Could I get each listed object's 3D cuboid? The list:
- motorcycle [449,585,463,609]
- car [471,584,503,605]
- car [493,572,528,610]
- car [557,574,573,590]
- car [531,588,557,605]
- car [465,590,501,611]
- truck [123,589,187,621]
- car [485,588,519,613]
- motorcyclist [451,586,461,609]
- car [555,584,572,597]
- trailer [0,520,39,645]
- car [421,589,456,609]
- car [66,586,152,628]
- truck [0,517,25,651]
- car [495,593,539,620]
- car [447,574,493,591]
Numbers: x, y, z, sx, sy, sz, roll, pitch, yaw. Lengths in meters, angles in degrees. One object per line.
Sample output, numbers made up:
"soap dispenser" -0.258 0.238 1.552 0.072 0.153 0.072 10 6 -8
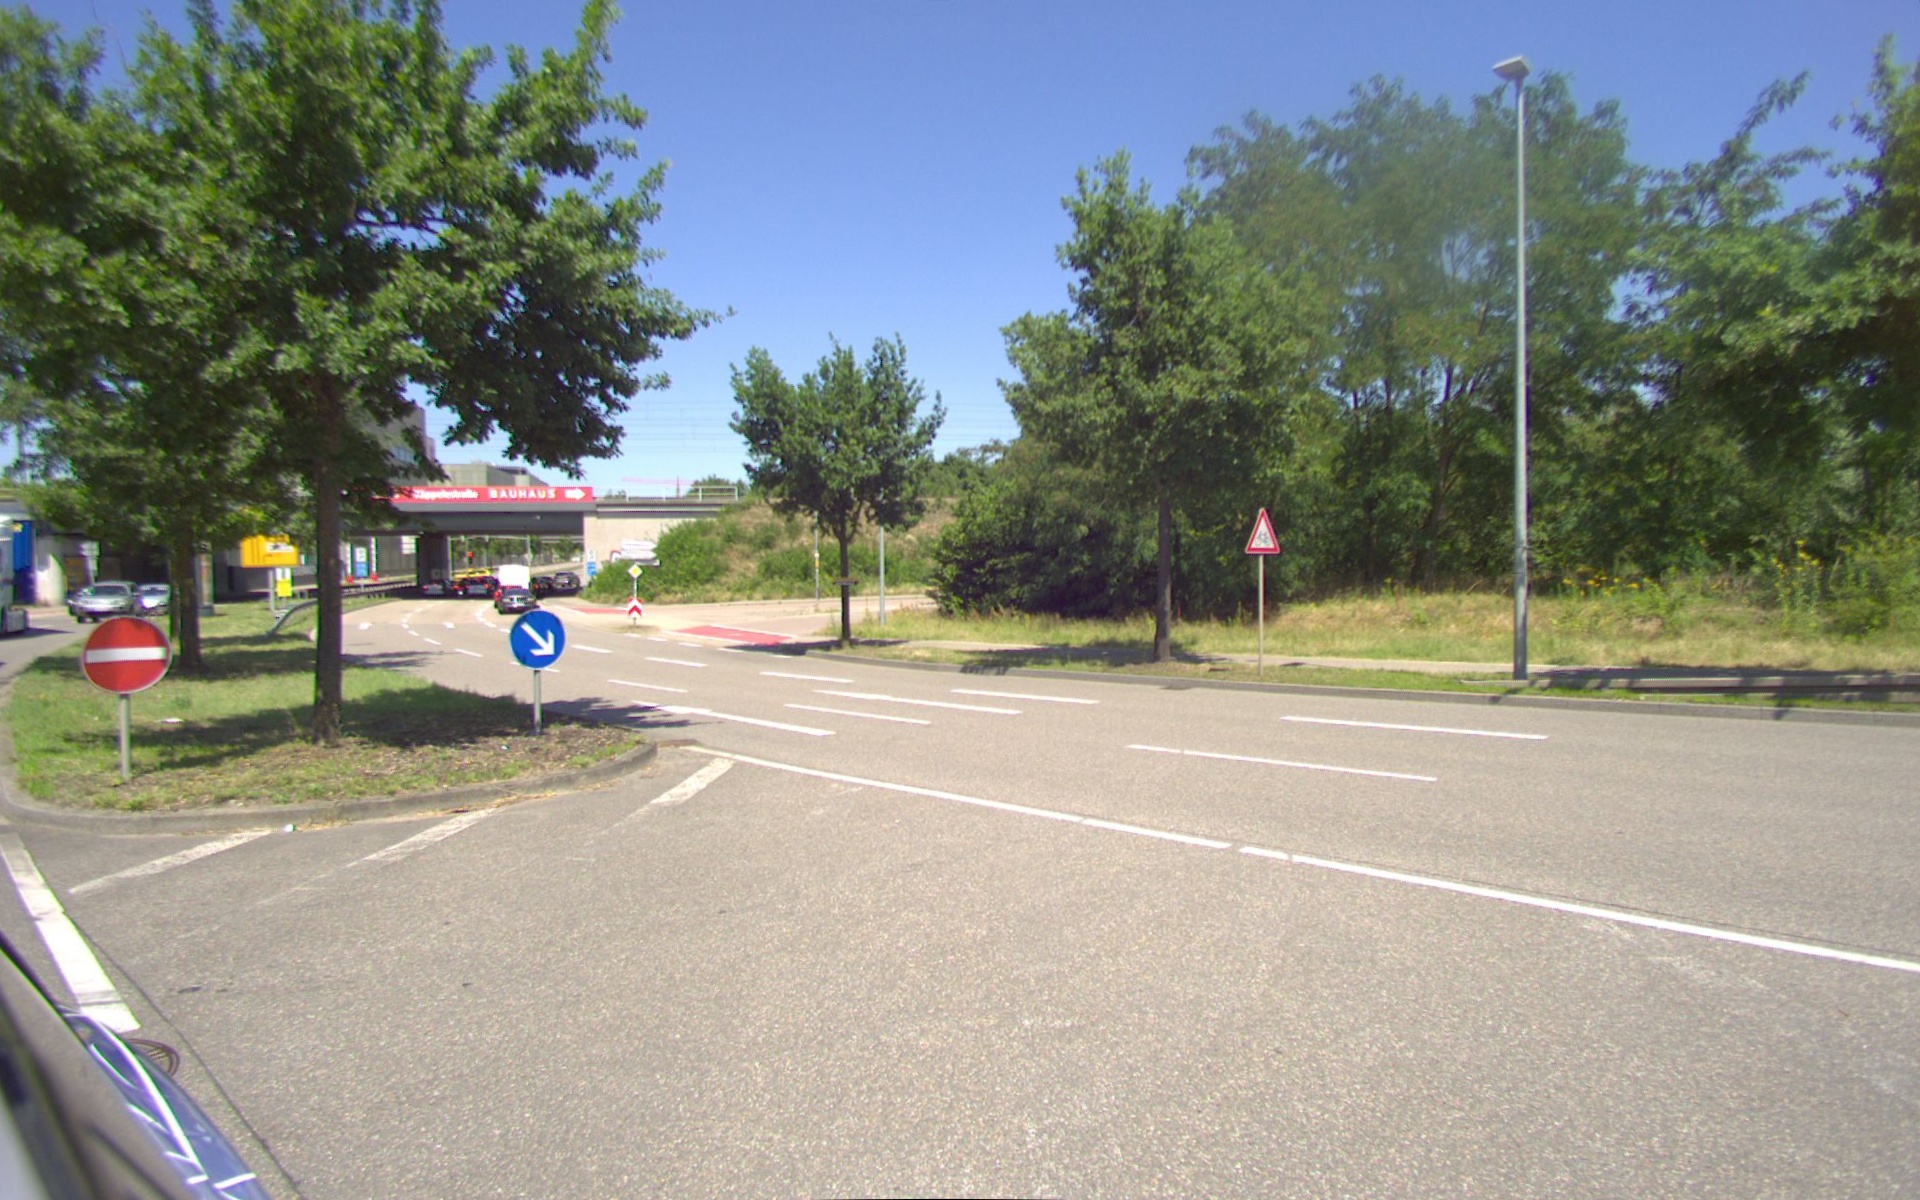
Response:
"motorcycle" -36.706 -0.241 73.722 0.589 1.691 2.433 0 1 -20
"car" -43.243 -0.514 92.517 1.877 1.873 4.011 0 1 -13
"car" -31.867 -0.572 71.849 2.064 2.519 5.828 0 -1 -22
"car" -48.523 -2.234 124.266 1.840 1.873 4.335 0 1 -21
"car" -38.471 -0.310 93.634 1.550 1.514 3.414 0 1 -9
"car" -36.608 0.047 77.756 1.612 1.579 4.082 1 0 -12
"truck" -40.392 0.219 50.864 1.702 1.513 4.013 -1 1 -26
"car" -28.384 0.022 62.672 1.805 1.448 4.541 -1 1 -26
"motorcyclist" -36.698 -0.199 73.668 0.579 1.638 0.564 0 1 -20
"car" -41.470 -1.001 105.871 1.167 1.257 2.698 0 1 -9
"trailer" -37.601 -0.560 36.901 13.864 4.120 2.472 0 2 33
"car" -40.423 -0.087 78.547 1.612 1.413 4.234 1 0 -16
"car" -37.050 0.279 44.176 1.815 1.708 3.712 0 1 -23
"truck" -32.138 -0.526 32.473 2.534 4.132 5.775 -1 1 -37
"car" -24.413 0.309 55.644 1.784 1.343 4.584 -1 1 -29
"car" -55.604 -2.037 114.925 1.871 1.873 4.264 1 2 39
